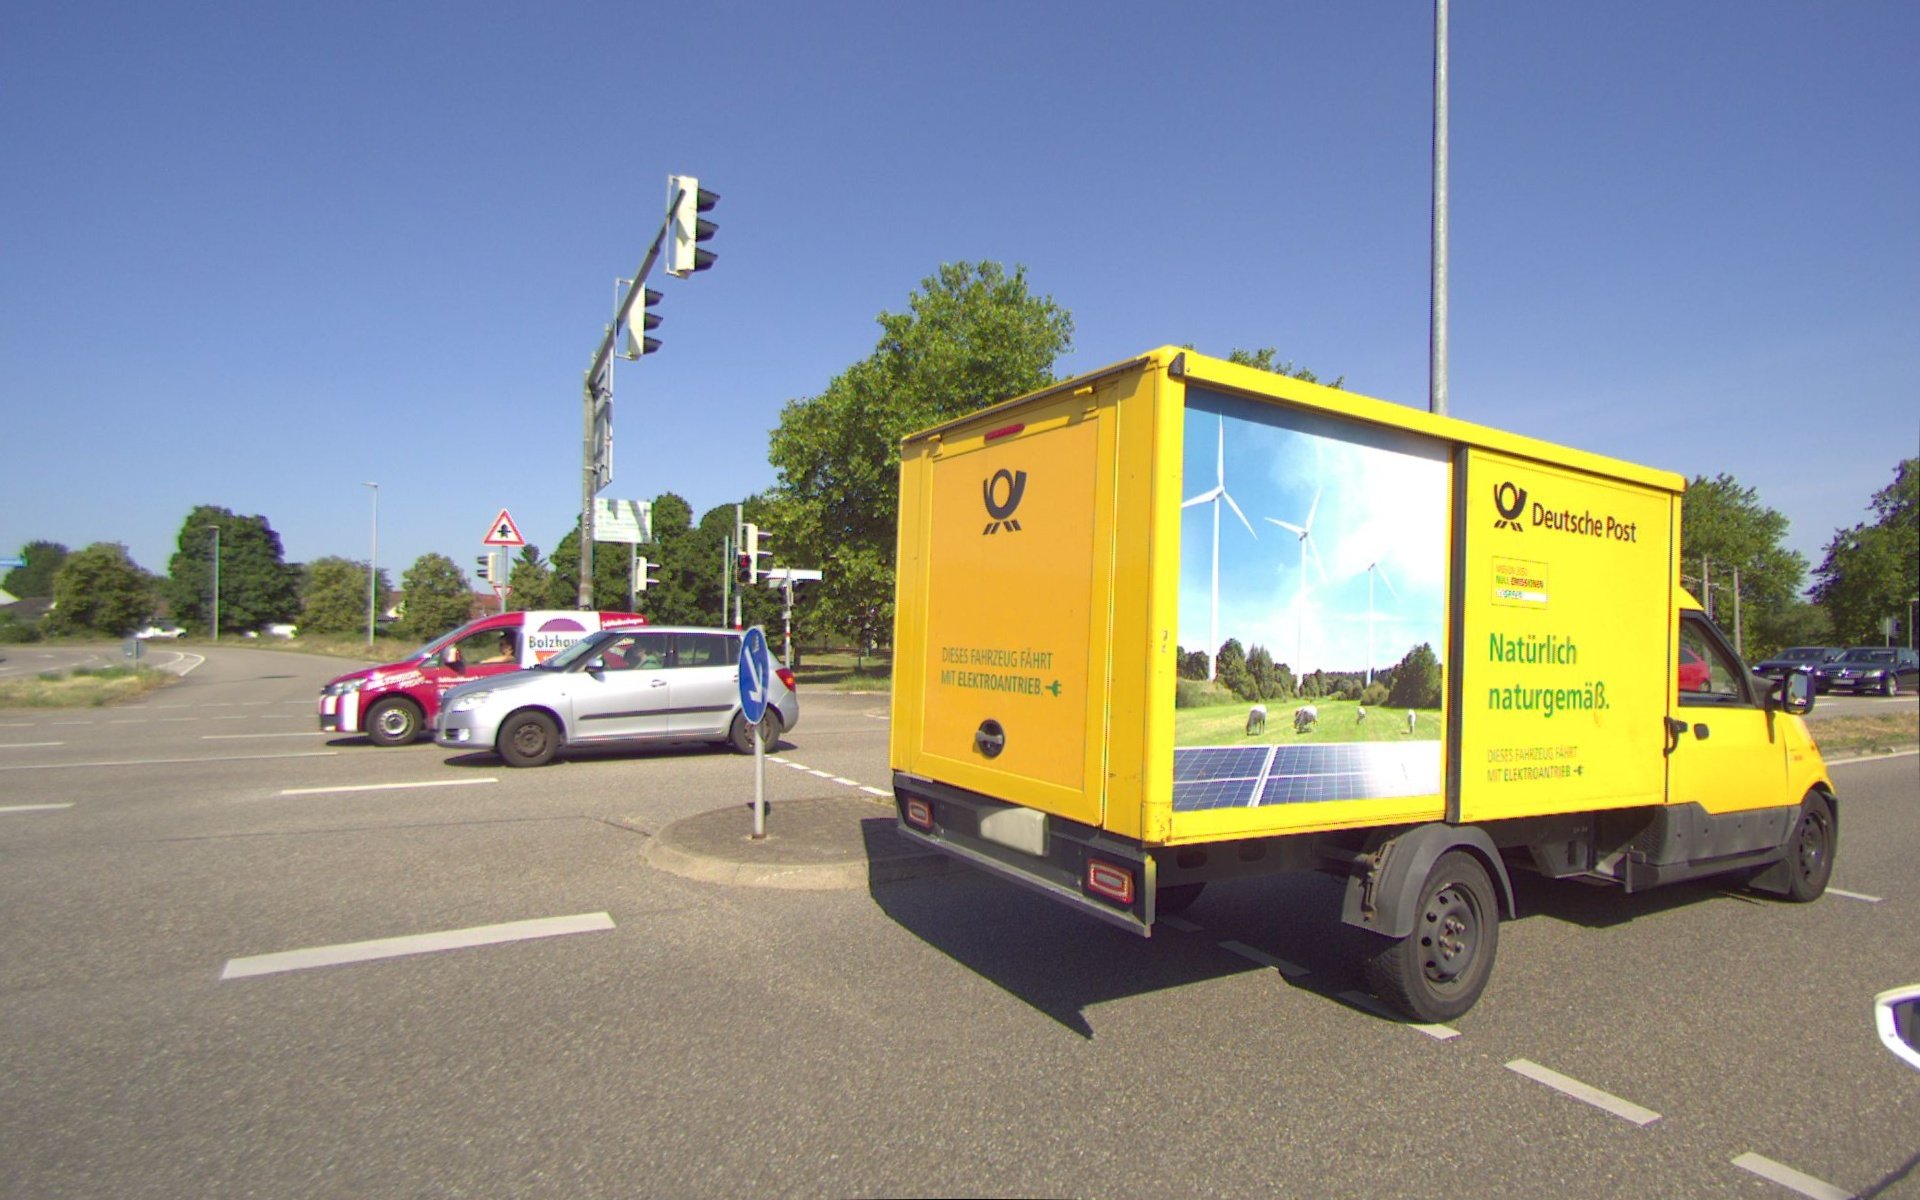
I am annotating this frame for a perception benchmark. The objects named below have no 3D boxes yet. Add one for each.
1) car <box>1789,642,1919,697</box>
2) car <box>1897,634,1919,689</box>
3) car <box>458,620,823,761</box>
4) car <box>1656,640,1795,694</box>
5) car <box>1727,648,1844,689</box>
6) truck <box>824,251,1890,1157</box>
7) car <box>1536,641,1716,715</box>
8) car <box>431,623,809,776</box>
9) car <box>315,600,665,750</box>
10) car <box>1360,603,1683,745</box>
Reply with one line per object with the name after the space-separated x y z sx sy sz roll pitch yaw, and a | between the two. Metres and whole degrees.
26.663 2.011 29.557 4.394 1.476 1.973 2 -2 -28 | car
34.002 2.098 34.088 4.435 1.803 1.973 2 -2 -29 | car
-3.701 0.976 11.702 3.795 1.404 1.822 2 -2 -28 | car
24.719 2.152 32.420 4.438 1.643 2.062 2 -4 -31 | car
29.516 2.427 35.924 3.953 1.349 1.984 2 -2 -30 | car
2.427 0.375 5.227 5.851 2.490 2.100 2 -1 -32 | truck
14.949 1.692 22.521 3.952 1.504 1.807 2 -2 -30 | car
-3.815 1.042 11.459 3.827 1.476 1.611 2 -2 -31 | car
-6.437 0.995 13.952 4.185 1.793 1.694 2 -3 -34 | car
8.128 1.026 14.497 4.451 1.773 1.974 2 -3 -28 | car
